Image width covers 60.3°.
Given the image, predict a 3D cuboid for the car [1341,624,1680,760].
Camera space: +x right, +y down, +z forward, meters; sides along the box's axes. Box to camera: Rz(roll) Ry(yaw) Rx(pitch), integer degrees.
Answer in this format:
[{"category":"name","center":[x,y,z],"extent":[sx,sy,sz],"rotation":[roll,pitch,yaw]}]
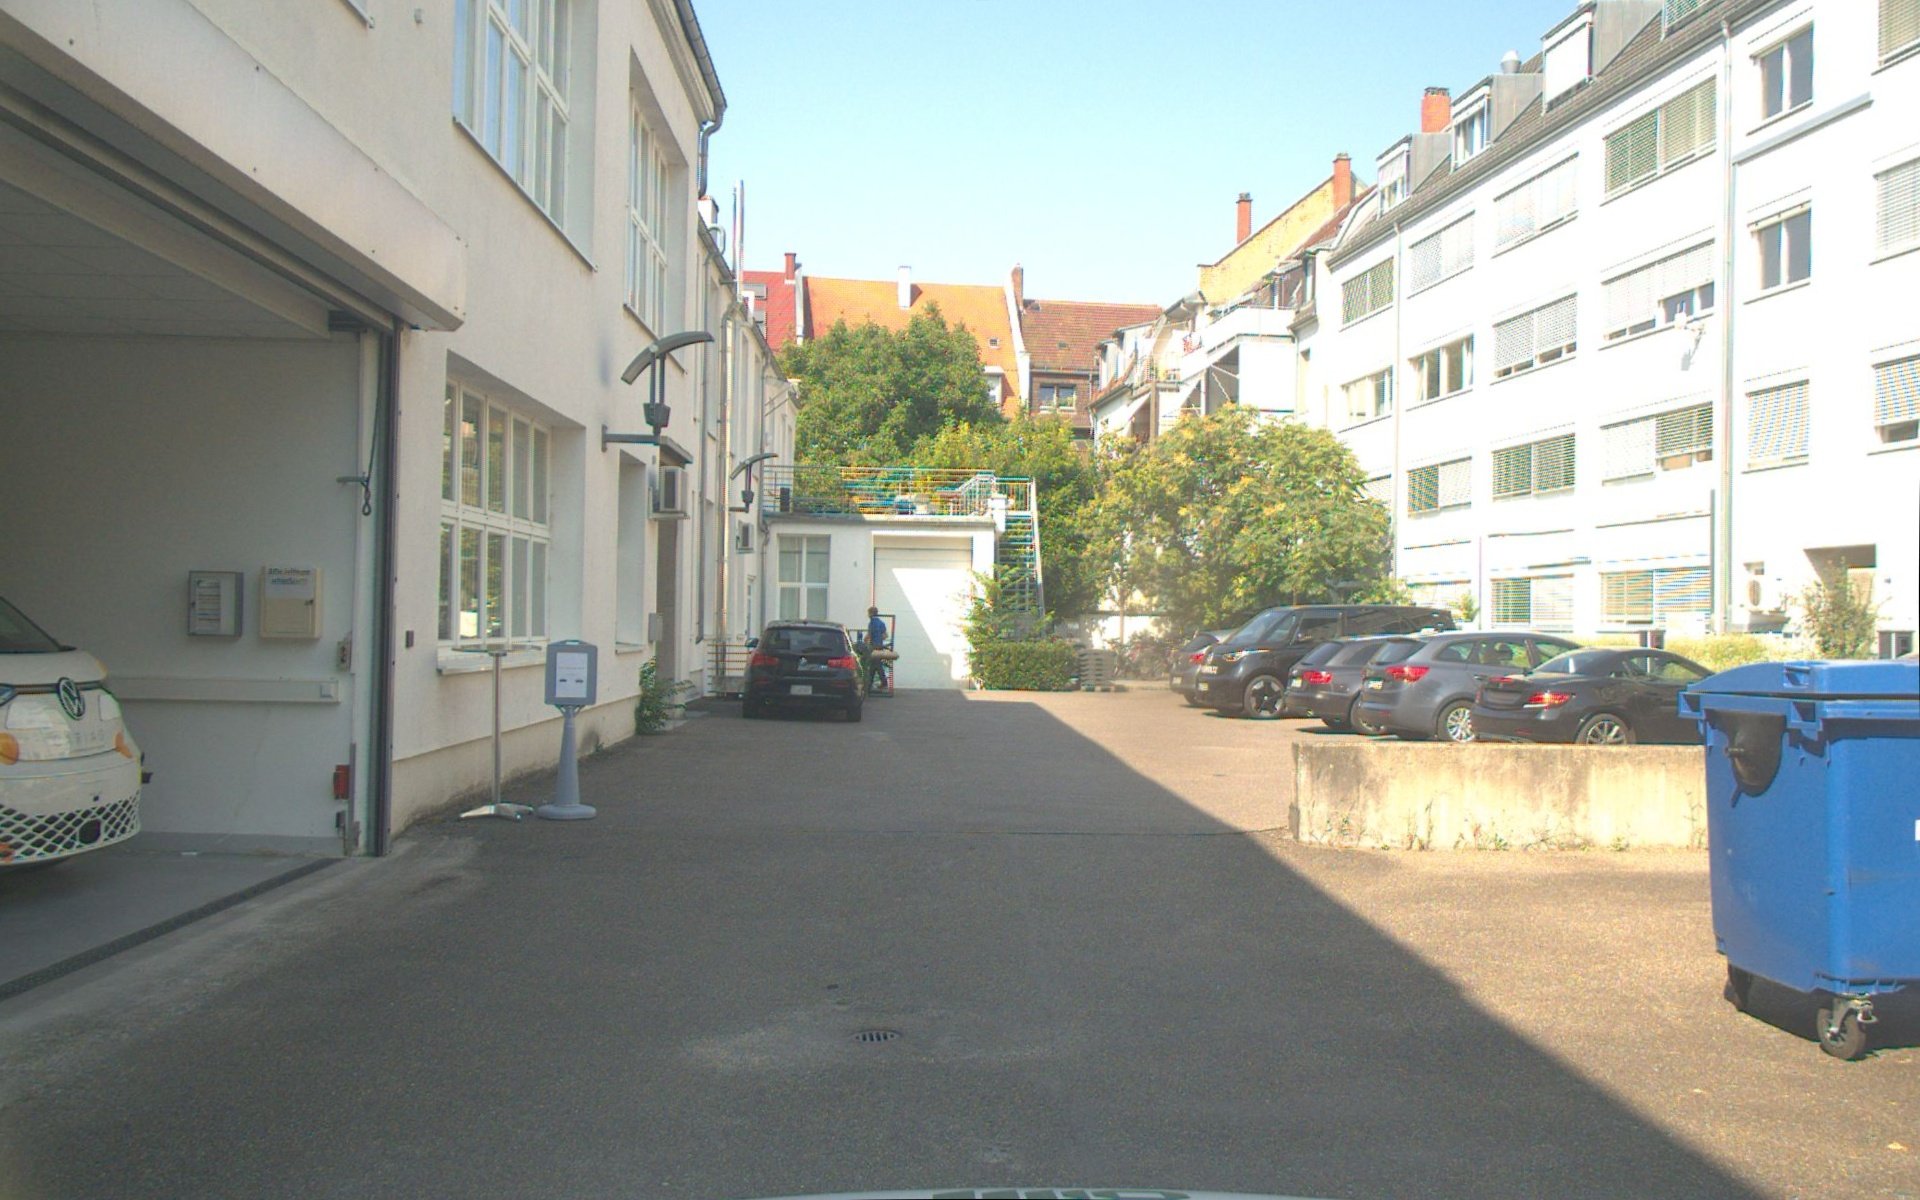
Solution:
[{"category":"car","center":[7.145,1.186,21.671],"extent":[3.788,1.617,1.876],"rotation":[2,-2,-7]}]

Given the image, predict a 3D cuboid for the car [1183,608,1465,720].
[{"category":"car","center":[6.268,1.110,28.671],"extent":[4.419,1.826,1.878],"rotation":[1,-2,-11]}]

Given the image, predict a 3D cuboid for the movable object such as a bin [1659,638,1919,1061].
[{"category":"movable object such as a bin","center":[3.440,0.841,5.996],"extent":[1.274,1.364,1.194],"rotation":[2,-2,-2]}]

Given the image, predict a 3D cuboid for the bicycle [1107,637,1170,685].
[{"category":"bicycle","center":[4.592,1.569,42.511],"extent":[1.590,1.235,0.327],"rotation":[0,-1,0]}]

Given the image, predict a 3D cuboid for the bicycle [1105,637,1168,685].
[{"category":"bicycle","center":[4.556,1.576,42.803],"extent":[1.590,1.235,0.327],"rotation":[0,-1,0]}]

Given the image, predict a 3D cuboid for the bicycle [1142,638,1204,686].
[{"category":"bicycle","center":[5.565,1.615,43.184],"extent":[1.588,1.235,0.327],"rotation":[0,-1,13]}]

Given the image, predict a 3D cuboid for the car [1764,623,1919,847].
[{"category":"car","center":[8.540,0.931,12.955],"extent":[3.547,1.572,1.801],"rotation":[-3,-1,-4]}]

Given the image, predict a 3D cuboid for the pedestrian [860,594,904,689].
[{"category":"pedestrian","center":[-1.721,0.913,36.584],"extent":[0.895,2.049,0.934],"rotation":[2,-2,-1]}]

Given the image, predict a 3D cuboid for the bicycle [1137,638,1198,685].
[{"category":"bicycle","center":[5.524,1.639,44.042],"extent":[1.588,1.235,0.424],"rotation":[0,-1,11]}]

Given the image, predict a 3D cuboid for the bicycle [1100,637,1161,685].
[{"category":"bicycle","center":[4.493,1.598,43.616],"extent":[1.588,1.235,0.327],"rotation":[0,-1,11]}]

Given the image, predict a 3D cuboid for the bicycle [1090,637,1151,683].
[{"category":"bicycle","center":[4.356,1.632,44.923],"extent":[1.592,1.235,0.423],"rotation":[0,-1,-7]}]

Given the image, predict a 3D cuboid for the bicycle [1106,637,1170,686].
[{"category":"bicycle","center":[4.535,1.558,42.187],"extent":[1.590,1.235,0.327],"rotation":[0,-1,0]}]

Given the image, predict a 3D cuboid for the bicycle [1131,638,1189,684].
[{"category":"bicycle","center":[5.521,1.684,45.645],"extent":[1.588,1.235,0.424],"rotation":[0,-1,11]}]

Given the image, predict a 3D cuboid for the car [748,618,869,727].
[{"category":"car","center":[-2.241,1.072,25.263],"extent":[1.655,1.485,3.920],"rotation":[2,-2,-3]}]

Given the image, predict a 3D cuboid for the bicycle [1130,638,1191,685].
[{"category":"bicycle","center":[5.408,1.652,44.616],"extent":[1.588,1.235,0.424],"rotation":[0,-1,11]}]

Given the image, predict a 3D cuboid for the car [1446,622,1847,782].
[{"category":"car","center":[7.603,1.118,18.481],"extent":[3.731,1.617,1.892],"rotation":[2,-2,-11]}]

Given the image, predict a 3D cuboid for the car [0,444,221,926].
[{"category":"car","center":[-6.536,0.312,8.264],"extent":[4.651,2.129,2.055],"rotation":[2,-2,-2]}]

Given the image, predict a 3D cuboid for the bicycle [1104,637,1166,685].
[{"category":"bicycle","center":[4.579,1.590,43.255],"extent":[1.588,1.235,0.327],"rotation":[0,-1,8]}]

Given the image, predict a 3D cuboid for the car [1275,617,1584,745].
[{"category":"car","center":[6.884,1.178,24.484],"extent":[4.036,1.721,1.769],"rotation":[2,-2,-5]}]

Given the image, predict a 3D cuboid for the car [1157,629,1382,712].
[{"category":"car","center":[5.862,1.343,31.539],"extent":[3.861,1.508,1.770],"rotation":[1,-2,-11]}]

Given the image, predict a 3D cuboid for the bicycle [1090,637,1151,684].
[{"category":"bicycle","center":[4.291,1.612,44.287],"extent":[1.590,1.235,0.424],"rotation":[0,-1,-3]}]
